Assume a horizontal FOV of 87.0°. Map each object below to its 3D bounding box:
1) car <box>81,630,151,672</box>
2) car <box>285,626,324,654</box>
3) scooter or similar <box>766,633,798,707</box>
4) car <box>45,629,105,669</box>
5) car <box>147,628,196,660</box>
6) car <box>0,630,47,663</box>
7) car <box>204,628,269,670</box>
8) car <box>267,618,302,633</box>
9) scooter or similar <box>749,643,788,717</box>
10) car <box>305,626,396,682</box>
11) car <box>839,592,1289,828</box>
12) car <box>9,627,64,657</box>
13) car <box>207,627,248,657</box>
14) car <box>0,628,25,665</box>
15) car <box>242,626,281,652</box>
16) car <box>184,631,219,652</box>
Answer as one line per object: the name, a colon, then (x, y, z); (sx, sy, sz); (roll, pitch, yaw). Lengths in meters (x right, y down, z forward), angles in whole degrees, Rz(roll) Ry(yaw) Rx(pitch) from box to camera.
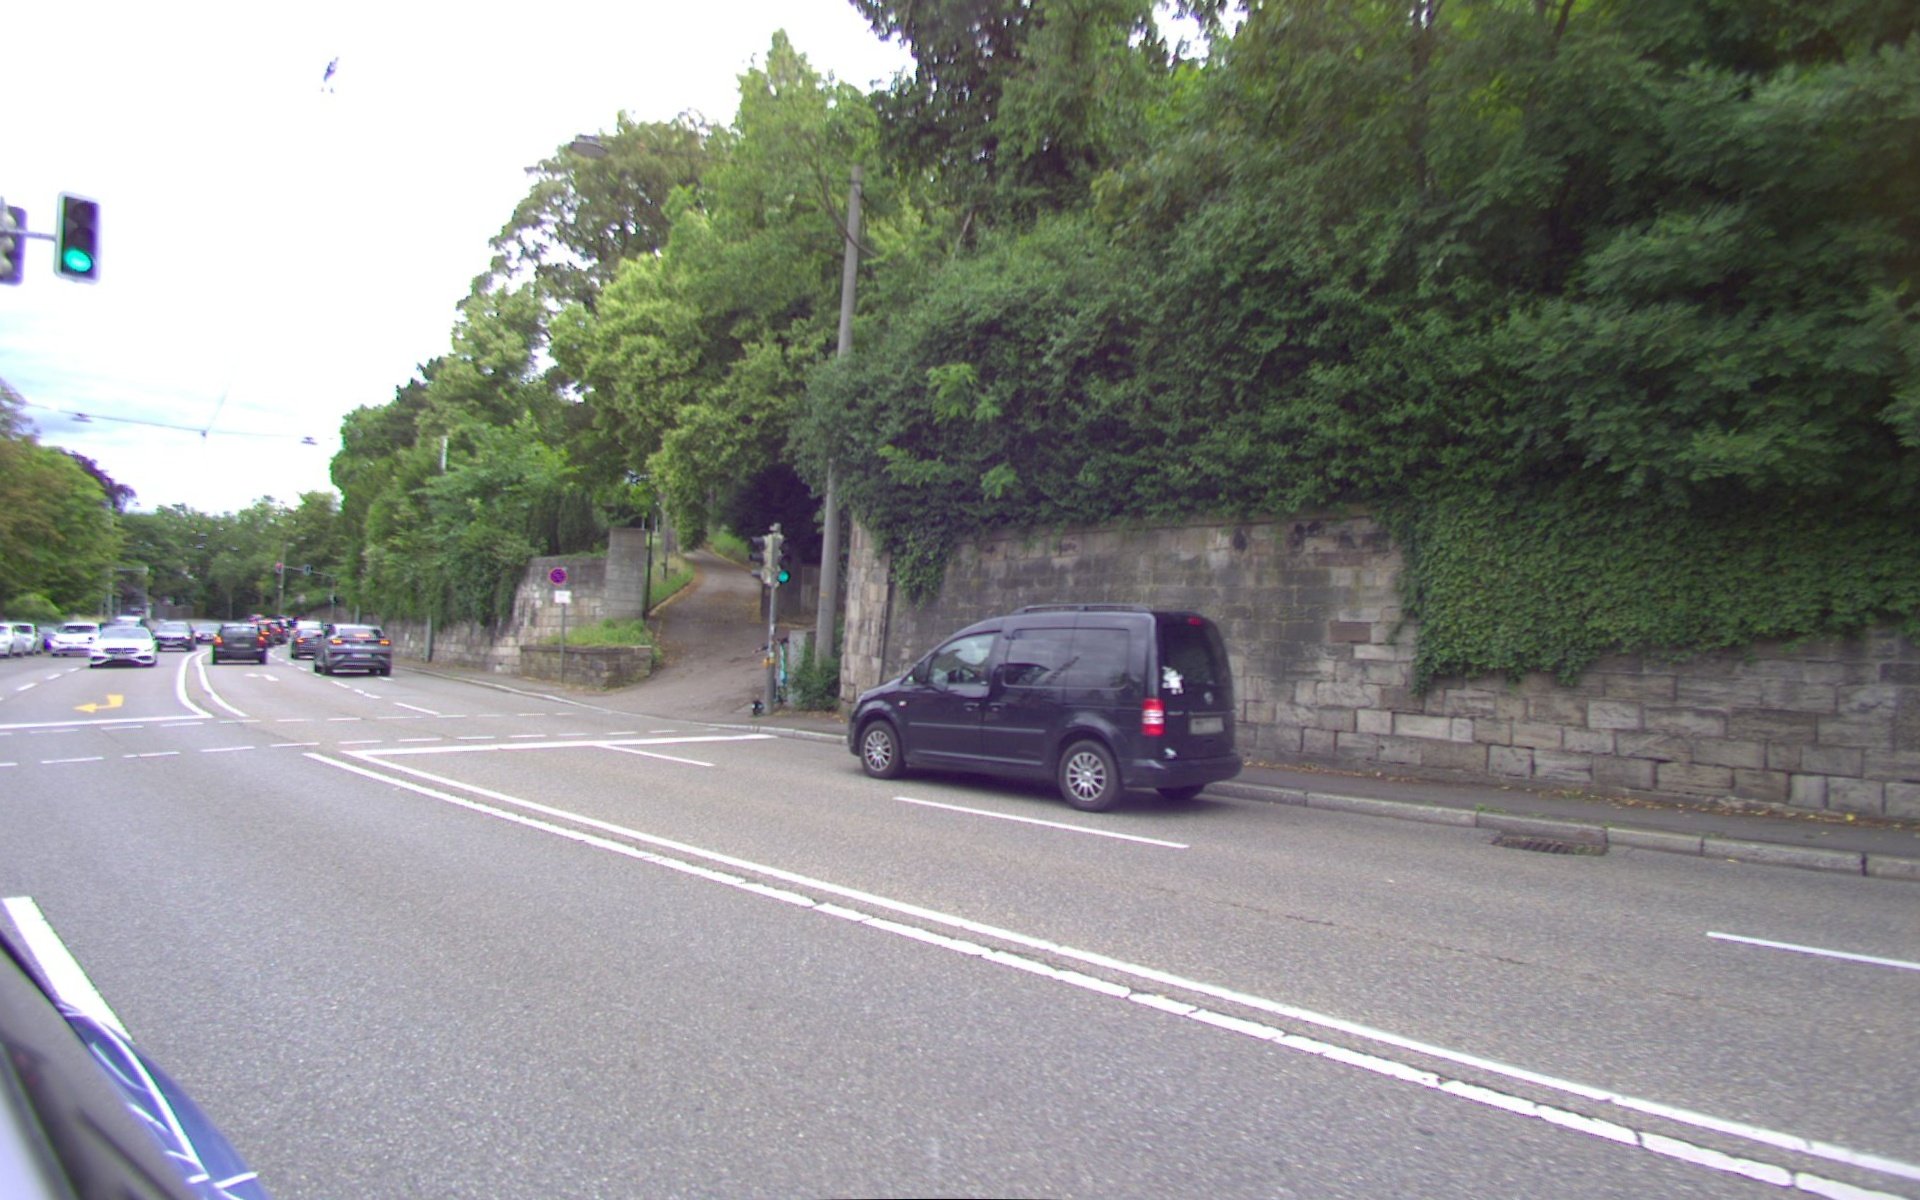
car: (-29.648, 1.796, 35.584); (1.776, 1.401, 3.533); (3, -4, -40)
car: (-45.757, 2.790, 70.635); (1.868, 1.862, 4.406); (4, -3, -37)
scooter or similar: (-3.552, 1.375, 20.227); (0.428, 1.246, 1.352); (-3, 5, -4)
car: (-41.382, 2.286, 47.290); (1.930, 1.785, 4.004); (3, -3, -43)
car: (-43.950, 2.435, 56.368); (1.929, 1.753, 4.006); (3, -3, -40)
car: (-44.534, 2.186, 47.726); (1.692, 1.483, 4.047); (3, -3, -36)
car: (-28.549, 1.924, 39.897); (1.732, 1.578, 3.685); (4, -4, -40)
car: (-69.424, 2.646, 103.968); (4.453, 1.420, 1.824); (0, -4, 41)
scooter or similar: (-3.535, 1.458, 18.744); (0.428, 1.246, 1.097); (-2, 1, 3)
car: (-19.554, 1.711, 32.374); (1.967, 1.620, 4.486); (5, -4, -37)
car: (0.875, 0.969, 10.074); (4.248, 1.860, 1.725); (-2, -5, 42)
car: (-48.988, 2.225, 53.727); (1.540, 1.433, 3.433); (6, -4, -34)
car: (-42.542, 2.444, 58.809); (1.824, 1.645, 4.371); (2, -3, -35)
car: (-40.950, 1.909, 42.607); (1.653, 1.472, 4.376); (5, -4, -35)
car: (-50.988, 2.804, 73.932); (1.933, 1.763, 4.892); (3, -3, -31)
car: (-53.527, 2.932, 71.472); (1.806, 1.387, 4.010); (2, -3, -35)
